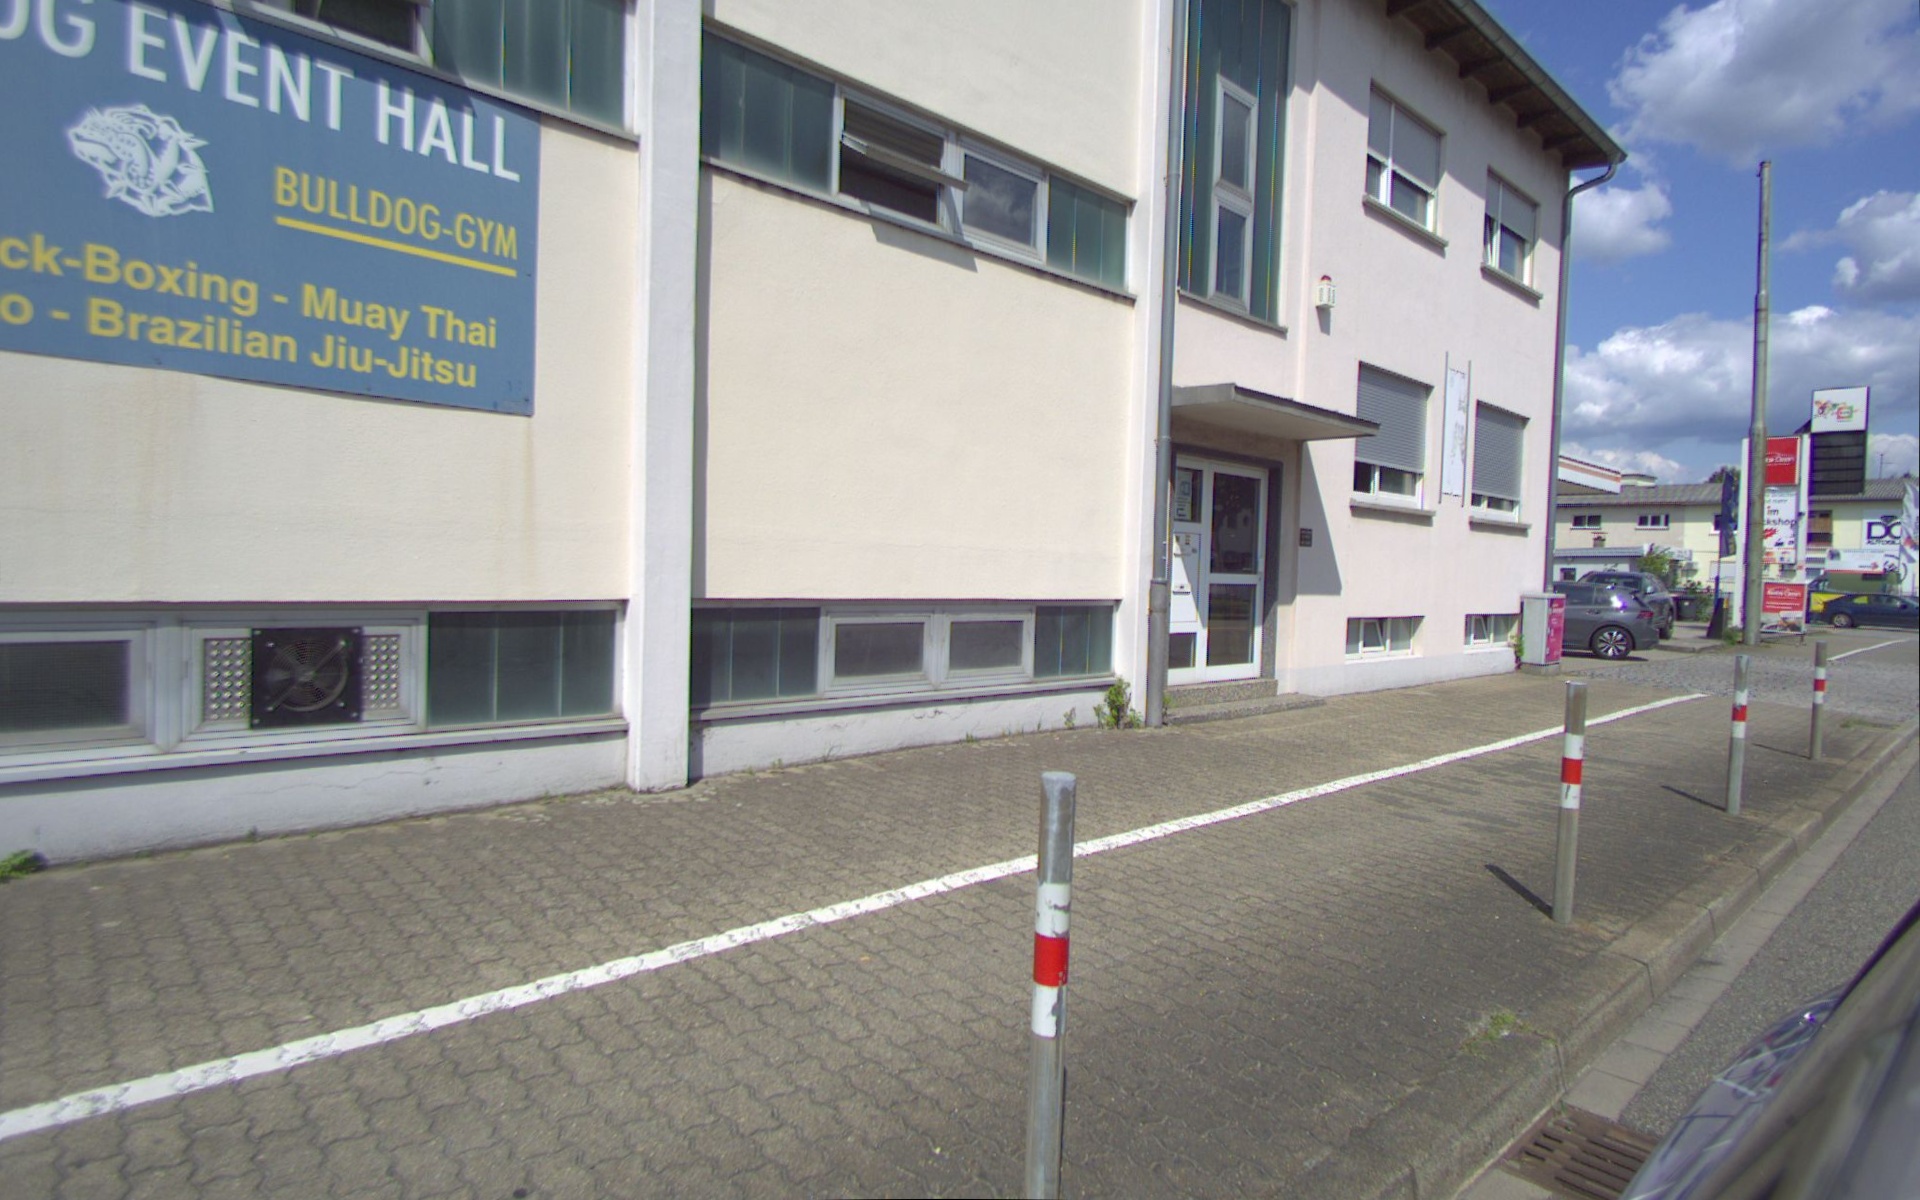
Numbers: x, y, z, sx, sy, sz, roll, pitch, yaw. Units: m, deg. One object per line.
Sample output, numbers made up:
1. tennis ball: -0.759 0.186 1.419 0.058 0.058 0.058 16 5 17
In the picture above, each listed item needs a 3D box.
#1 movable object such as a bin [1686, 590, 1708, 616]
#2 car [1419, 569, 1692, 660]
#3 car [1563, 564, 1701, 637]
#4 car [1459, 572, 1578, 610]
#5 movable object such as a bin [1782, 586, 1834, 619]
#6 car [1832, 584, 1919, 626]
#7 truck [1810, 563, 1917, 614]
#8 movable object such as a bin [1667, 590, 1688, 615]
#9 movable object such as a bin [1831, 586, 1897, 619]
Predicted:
1. movable object such as a bin: 29.500 0.107 40.501 0.695 1.023 0.581 -1 1 -43
2. car: 11.428 0.222 19.702 4.346 1.435 1.725 3 1 31
3. car: 17.277 -0.033 25.926 4.539 1.645 1.948 -1 3 -44
4. car: 24.217 -0.425 44.000 1.740 1.441 4.145 -1 4 -40
5. movable object such as a bin: 37.372 0.089 44.610 1.735 1.427 1.534 -1 1 -42
6. car: 35.308 0.202 37.639 1.616 1.425 4.067 -1 3 -35
7. truck: 50.008 -0.648 56.051 2.071 2.693 4.179 -1 1 -40
8. movable object such as a bin: 29.050 0.092 40.979 0.695 1.023 0.581 -1 1 -43
9. movable object such as a bin: 38.916 0.071 43.583 1.679 1.364 1.965 -1 1 -42
